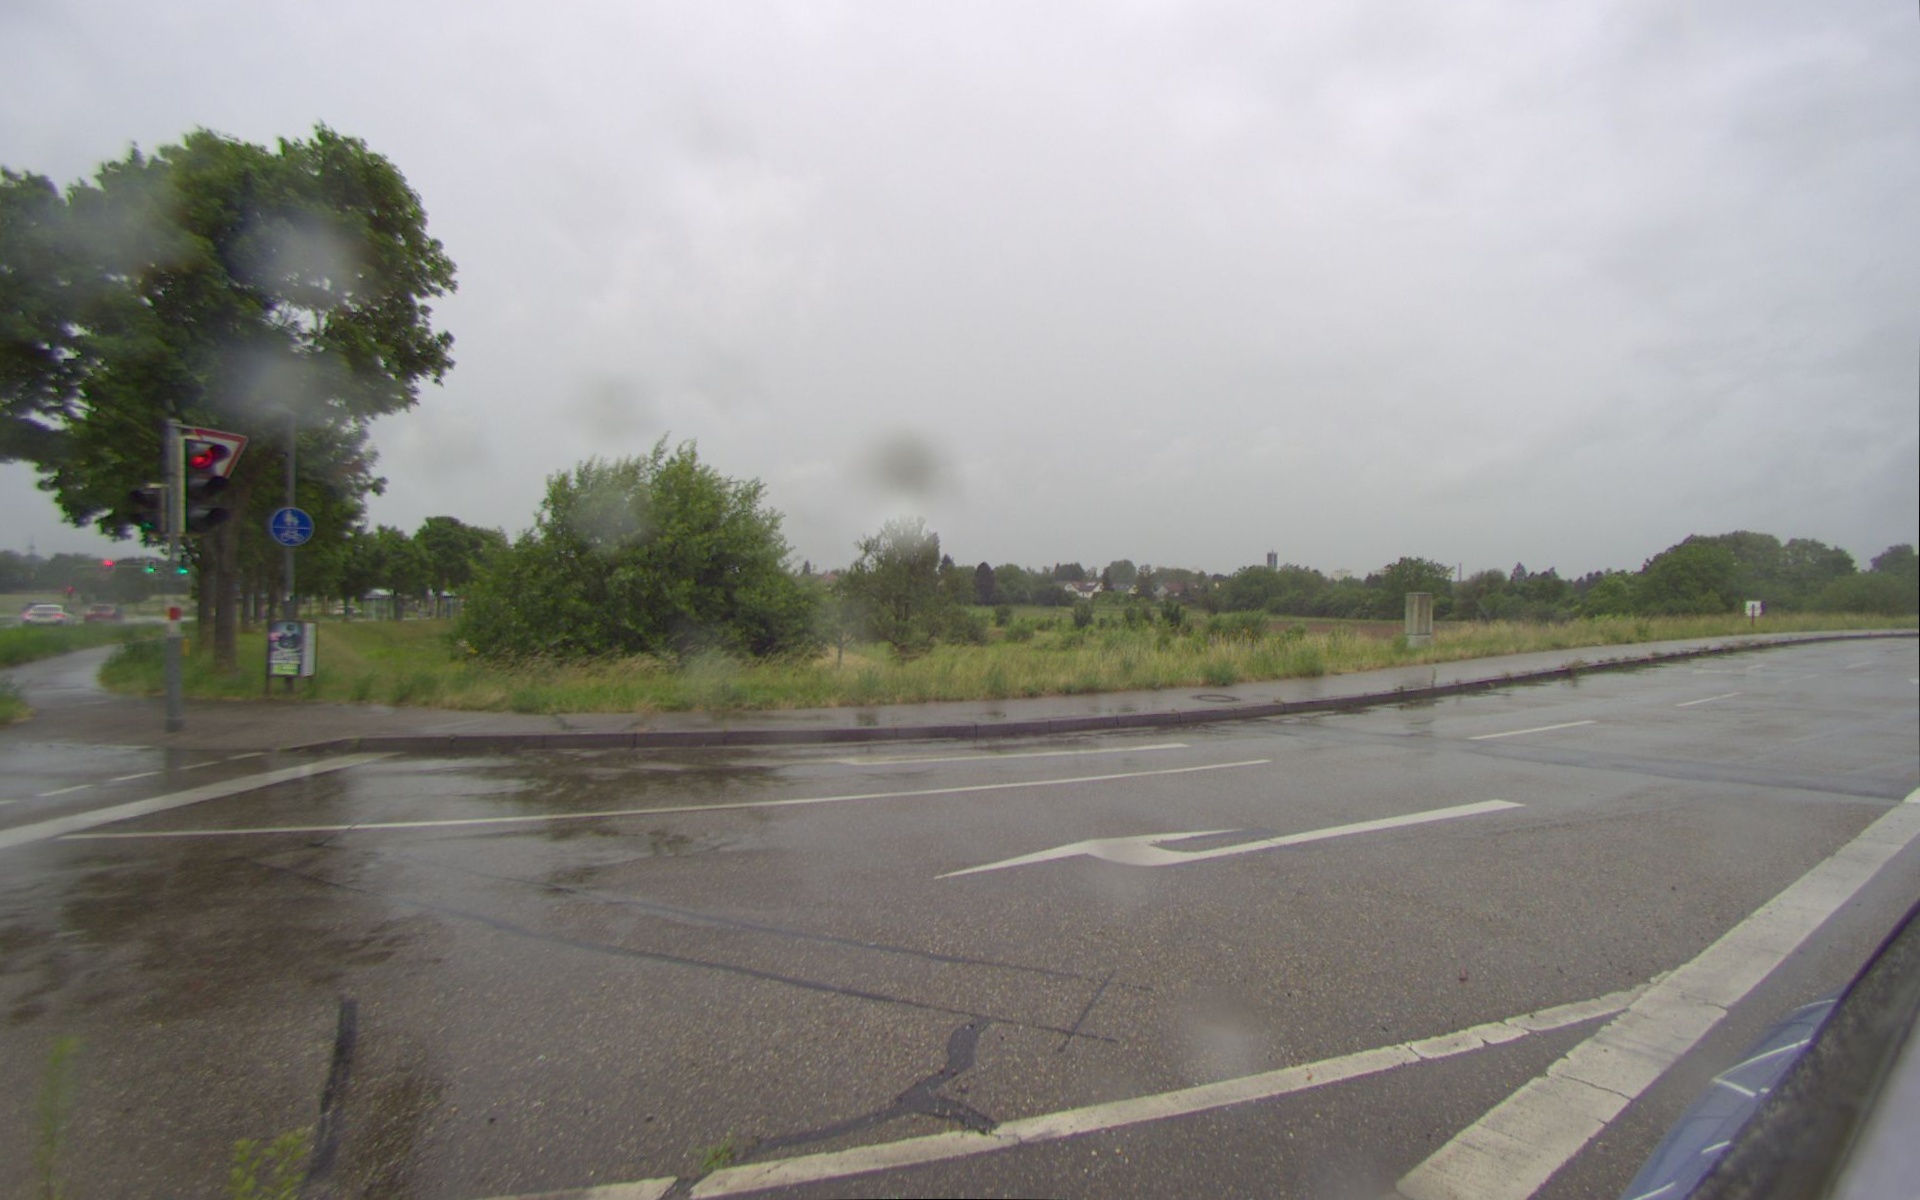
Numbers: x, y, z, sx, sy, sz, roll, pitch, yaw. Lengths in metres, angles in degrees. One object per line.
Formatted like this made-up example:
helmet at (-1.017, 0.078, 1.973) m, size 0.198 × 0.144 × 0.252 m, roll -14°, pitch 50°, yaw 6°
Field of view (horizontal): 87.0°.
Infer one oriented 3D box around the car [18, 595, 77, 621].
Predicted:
car at (-52.627, 0.442, 58.424) m, size 1.843 × 1.371 × 4.055 m, roll 0°, pitch 1°, yaw -32°
